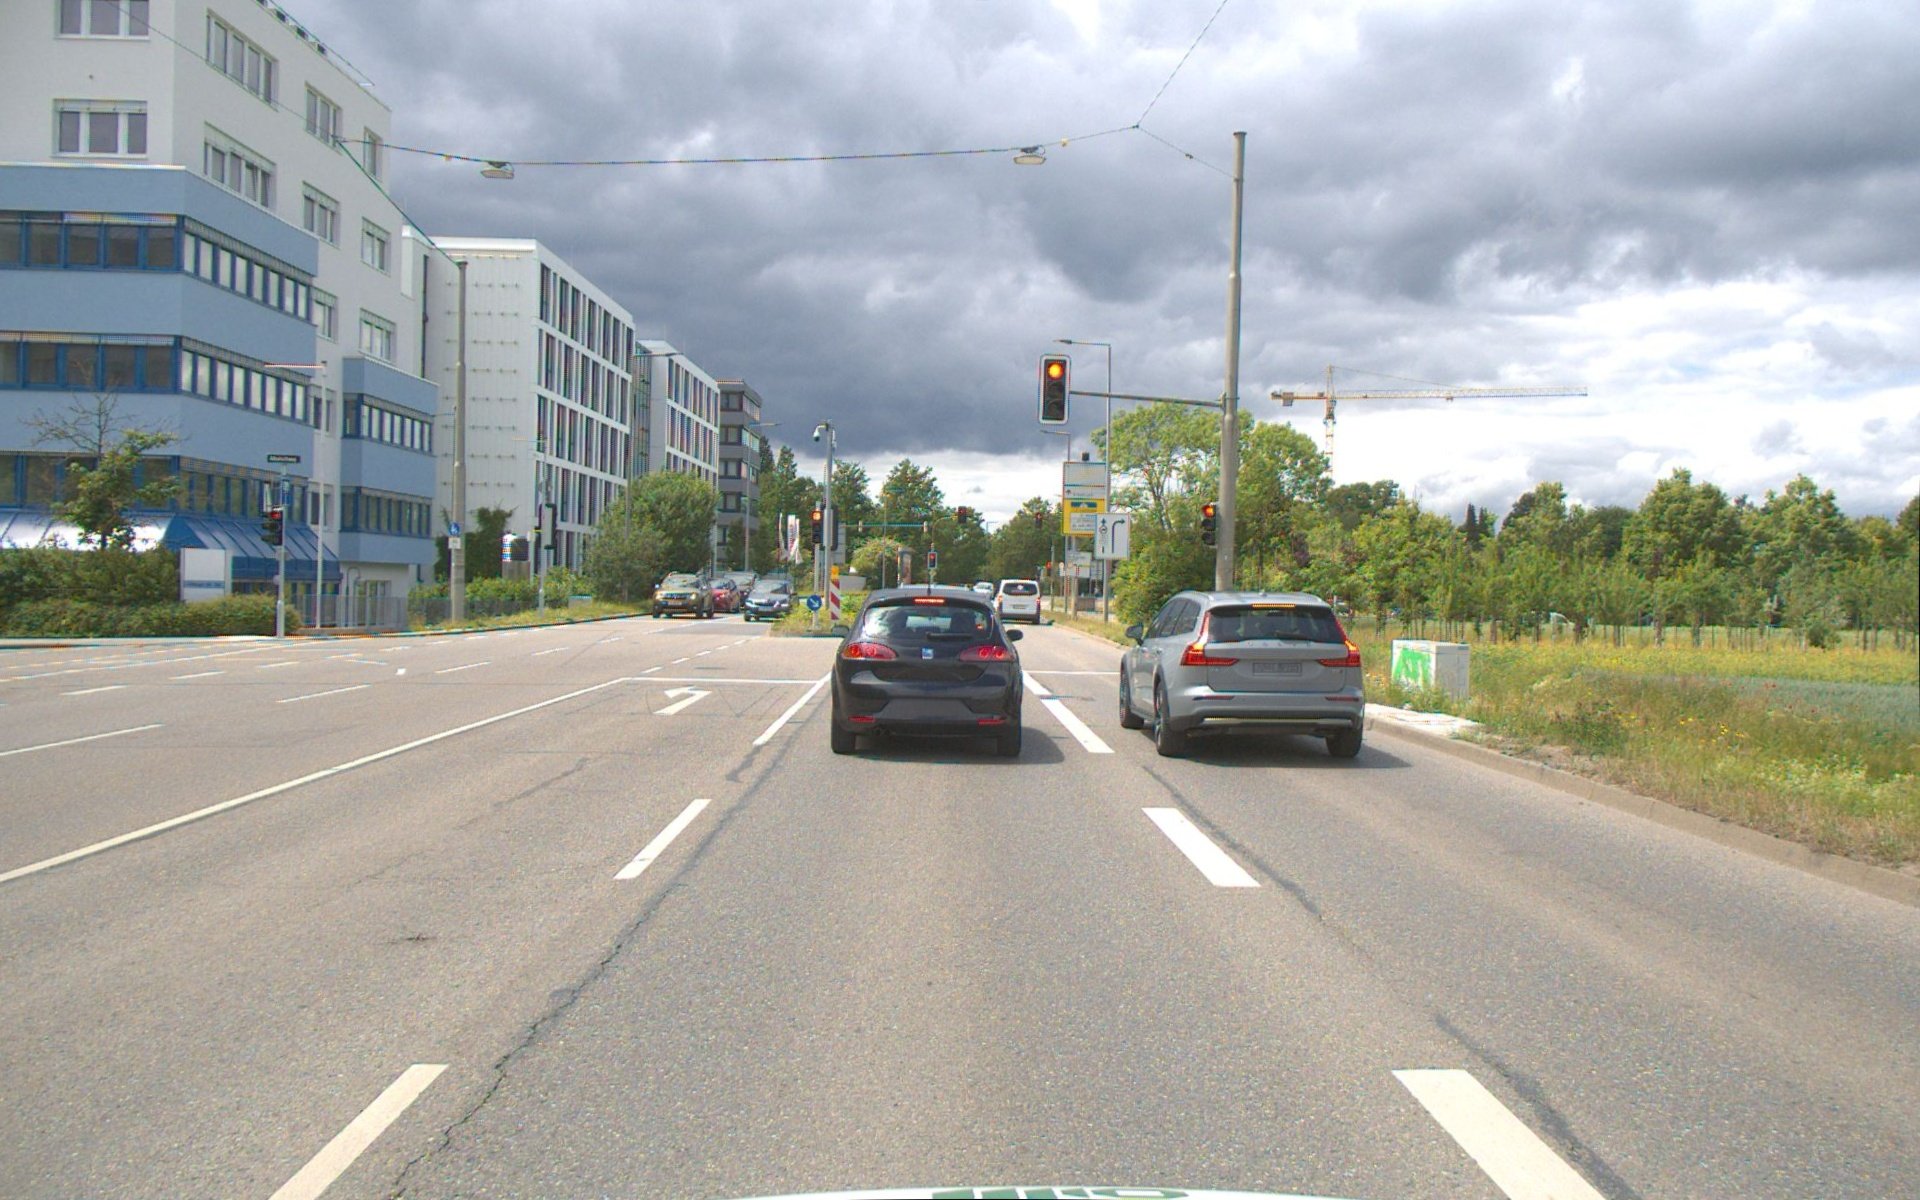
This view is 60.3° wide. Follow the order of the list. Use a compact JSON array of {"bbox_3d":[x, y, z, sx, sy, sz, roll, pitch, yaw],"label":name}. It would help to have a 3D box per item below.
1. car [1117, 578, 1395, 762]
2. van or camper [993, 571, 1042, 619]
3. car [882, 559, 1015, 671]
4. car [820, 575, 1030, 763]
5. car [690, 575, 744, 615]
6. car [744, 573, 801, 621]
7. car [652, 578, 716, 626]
[{"bbox_3d":[2.723,0.597,16.235,1.918,1.552,4.339,-1,0,0],"label":"car"},{"bbox_3d":[2.472,-0.210,71.693,1.860,1.959,3.999,1,0,-1],"label":"van or camper"},{"bbox_3d":[-0.238,0.205,26.668,1.943,1.618,4.224,1,1,-2],"label":"car"},{"bbox_3d":[-0.217,0.581,15.876,1.711,1.509,4.001,2,0,2],"label":"car"},{"bbox_3d":[-10.298,-0.216,70.246,1.740,1.640,3.999,1,0,-1],"label":"car"},{"bbox_3d":[-6.651,-0.138,59.058,1.635,1.551,4.007,-1,2,-1],"label":"car"},{"bbox_3d":[-10.003,0.055,60.219,1.716,1.659,3.999,-1,0,-1],"label":"car"}]
